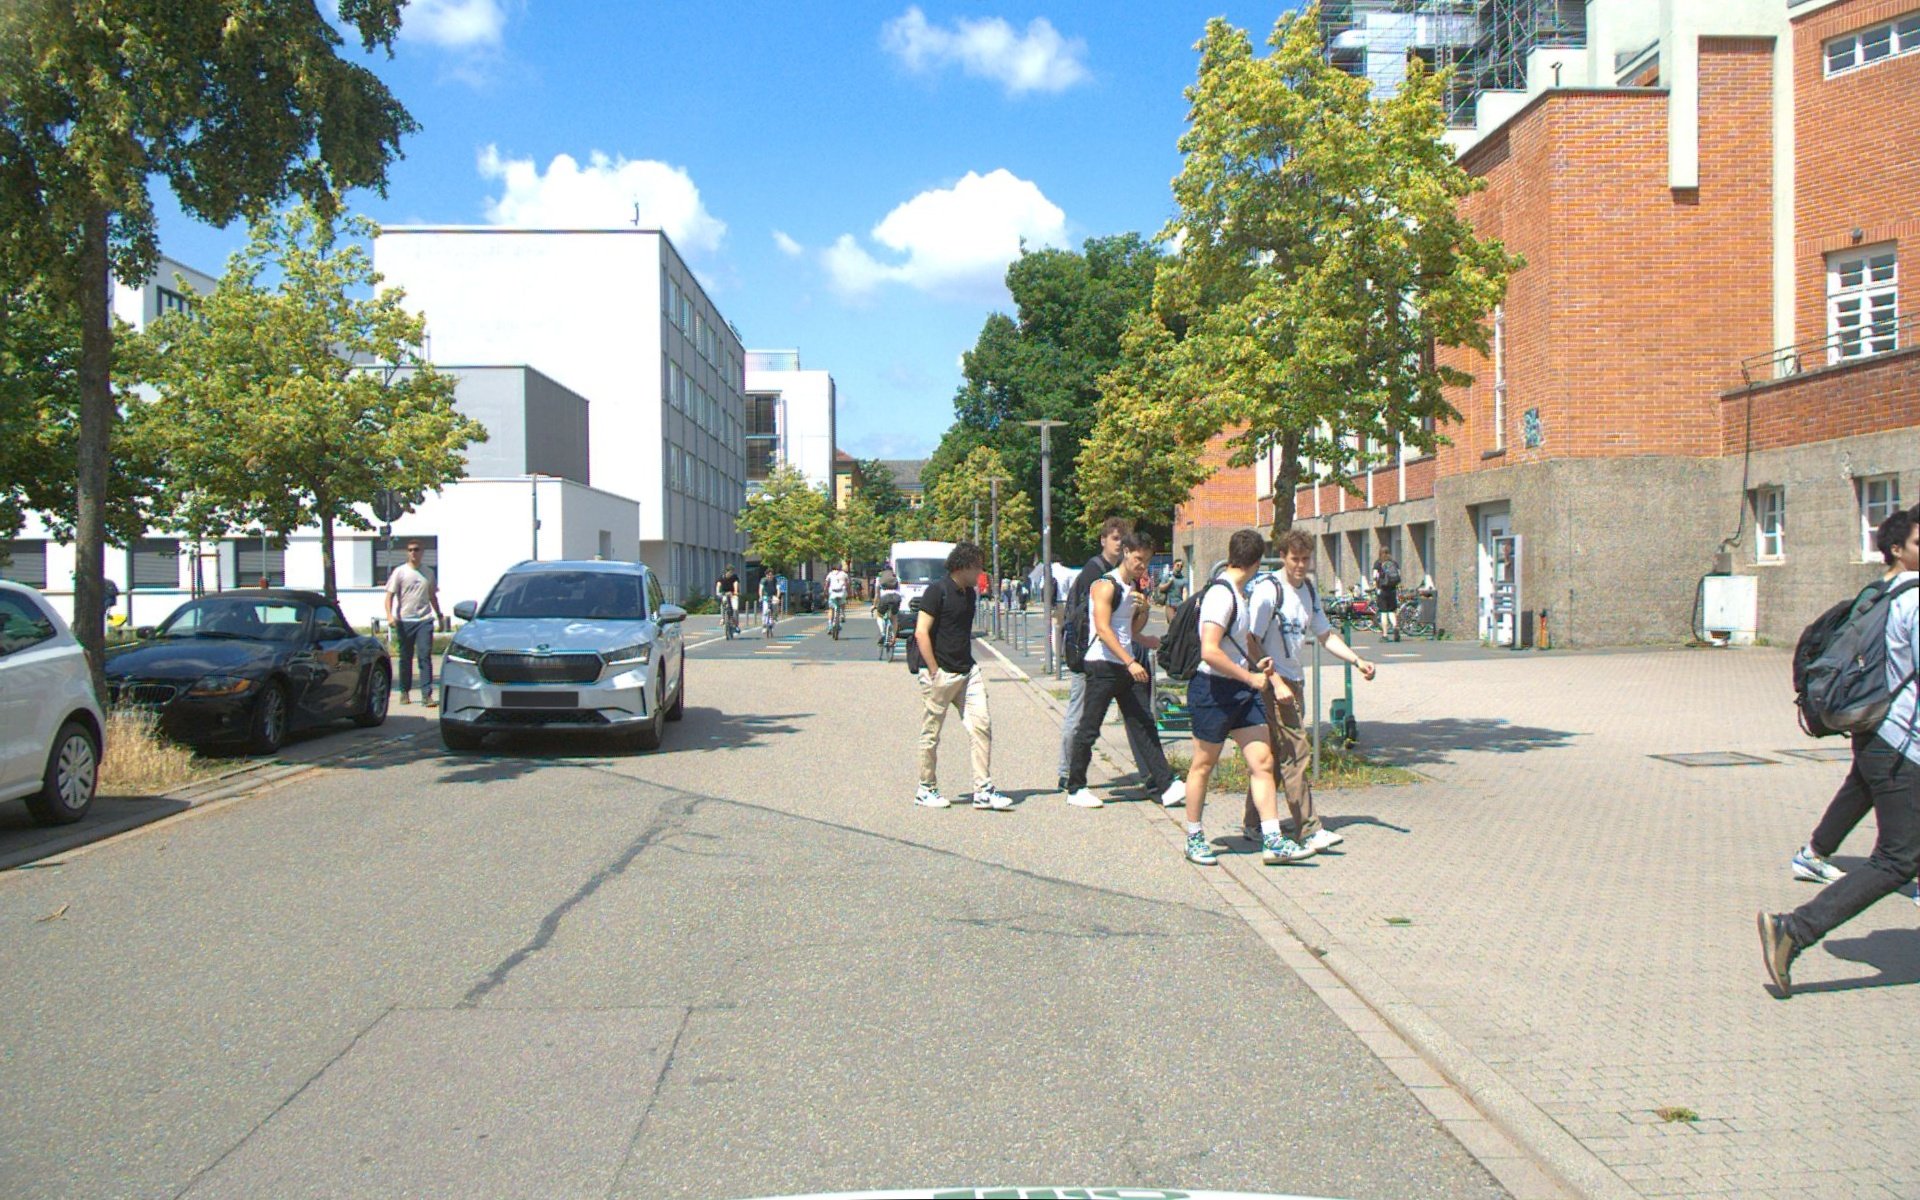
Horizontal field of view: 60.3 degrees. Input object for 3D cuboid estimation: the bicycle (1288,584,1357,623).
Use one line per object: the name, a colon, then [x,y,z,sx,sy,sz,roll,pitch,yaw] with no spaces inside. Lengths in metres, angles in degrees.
bicycle: [10.145,0.084,46.351,1.773,1.002,0.560,-3,0,-3]

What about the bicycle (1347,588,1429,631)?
bicycle: [10.156,0.224,39.246,1.773,0.927,0.560,-3,0,-3]

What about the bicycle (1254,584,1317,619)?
bicycle: [9.972,0.049,50.733,1.773,1.002,0.560,-3,0,-3]

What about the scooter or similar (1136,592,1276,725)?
scooter or similar: [2.494,0.581,16.762,1.237,1.287,0.638,-1,0,30]

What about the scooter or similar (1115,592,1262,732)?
scooter or similar: [2.201,0.587,15.939,1.237,1.287,0.649,-1,0,30]

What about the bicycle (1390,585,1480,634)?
bicycle: [10.257,0.194,35.738,1.755,0.986,0.560,-2,0,-3]

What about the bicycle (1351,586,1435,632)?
bicycle: [10.080,0.205,38.485,1.773,1.002,0.560,-3,0,-3]

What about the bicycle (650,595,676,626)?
bicycle: [-10.414,0.362,57.955,0.512,1.002,1.633,-2,1,2]

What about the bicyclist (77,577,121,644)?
bicyclist: [-23.183,0.290,44.519,0.676,1.787,0.811,0,0,18]

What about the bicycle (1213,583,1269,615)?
bicycle: [9.504,-0.029,55.927,1.773,1.002,0.560,-3,0,-3]

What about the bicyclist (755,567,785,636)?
bicyclist: [-4.778,0.035,41.597,0.654,1.711,0.992,-2,0,-4]

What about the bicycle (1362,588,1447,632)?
bicycle: [10.165,0.228,37.840,1.773,0.928,0.560,-2,0,-3]

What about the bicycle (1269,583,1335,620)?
bicycle: [10.059,0.046,48.670,1.773,1.002,0.560,-3,0,-3]

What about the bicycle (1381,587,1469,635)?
bicycle: [10.229,0.240,36.381,1.748,0.995,0.559,-2,0,-4]

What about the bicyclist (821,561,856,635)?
bicyclist: [-3.016,-0.049,41.075,0.755,1.787,0.848,2,0,-2]

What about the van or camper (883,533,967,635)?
van or camper: [-0.852,-0.391,43.338,1.952,2.488,4.570,-2,0,1]

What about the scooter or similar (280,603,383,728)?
scooter or similar: [-7.147,0.727,18.860,0.493,1.322,1.217,-2,1,10]

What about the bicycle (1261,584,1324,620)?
bicycle: [10.070,0.045,50.148,1.773,1.002,0.560,-3,0,-3]

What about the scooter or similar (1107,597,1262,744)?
scooter or similar: [2.056,0.629,15.160,1.237,1.287,0.649,-1,0,30]

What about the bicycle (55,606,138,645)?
bicycle: [-23.287,0.678,44.597,2.073,1.020,0.811,0,0,20]

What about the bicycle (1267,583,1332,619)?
bicycle: [10.169,0.031,49.541,1.773,1.002,0.560,-3,0,-3]

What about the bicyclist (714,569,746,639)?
bicyclist: [-5.543,0.088,39.878,0.630,1.629,0.908,-2,0,-4]

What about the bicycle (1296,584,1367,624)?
bicycle: [10.103,0.097,45.026,1.773,1.002,0.560,-3,0,-3]

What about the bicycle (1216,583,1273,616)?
bicycle: [9.513,-0.012,55.331,1.773,1.002,0.560,-3,0,-3]

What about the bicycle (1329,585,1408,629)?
bicycle: [10.119,0.159,41.008,1.773,1.002,0.560,-3,0,-3]

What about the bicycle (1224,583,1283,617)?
bicycle: [9.512,0.005,53.589,1.773,1.002,0.560,-3,0,-3]

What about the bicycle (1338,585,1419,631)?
bicycle: [10.101,0.190,39.903,1.773,1.002,0.560,-3,0,-3]

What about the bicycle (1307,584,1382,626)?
bicycle: [9.975,0.124,42.964,1.773,1.002,0.560,-3,0,-3]

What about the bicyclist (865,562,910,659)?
bicyclist: [-1.314,0.192,29.899,0.703,1.691,1.094,2,-1,-5]

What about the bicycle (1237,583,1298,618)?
bicycle: [9.666,0.022,52.060,1.773,1.002,0.560,-3,0,-3]

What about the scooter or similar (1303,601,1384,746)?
scooter or similar: [3.350,0.618,14.425,0.635,1.180,1.266,-1,0,13]
